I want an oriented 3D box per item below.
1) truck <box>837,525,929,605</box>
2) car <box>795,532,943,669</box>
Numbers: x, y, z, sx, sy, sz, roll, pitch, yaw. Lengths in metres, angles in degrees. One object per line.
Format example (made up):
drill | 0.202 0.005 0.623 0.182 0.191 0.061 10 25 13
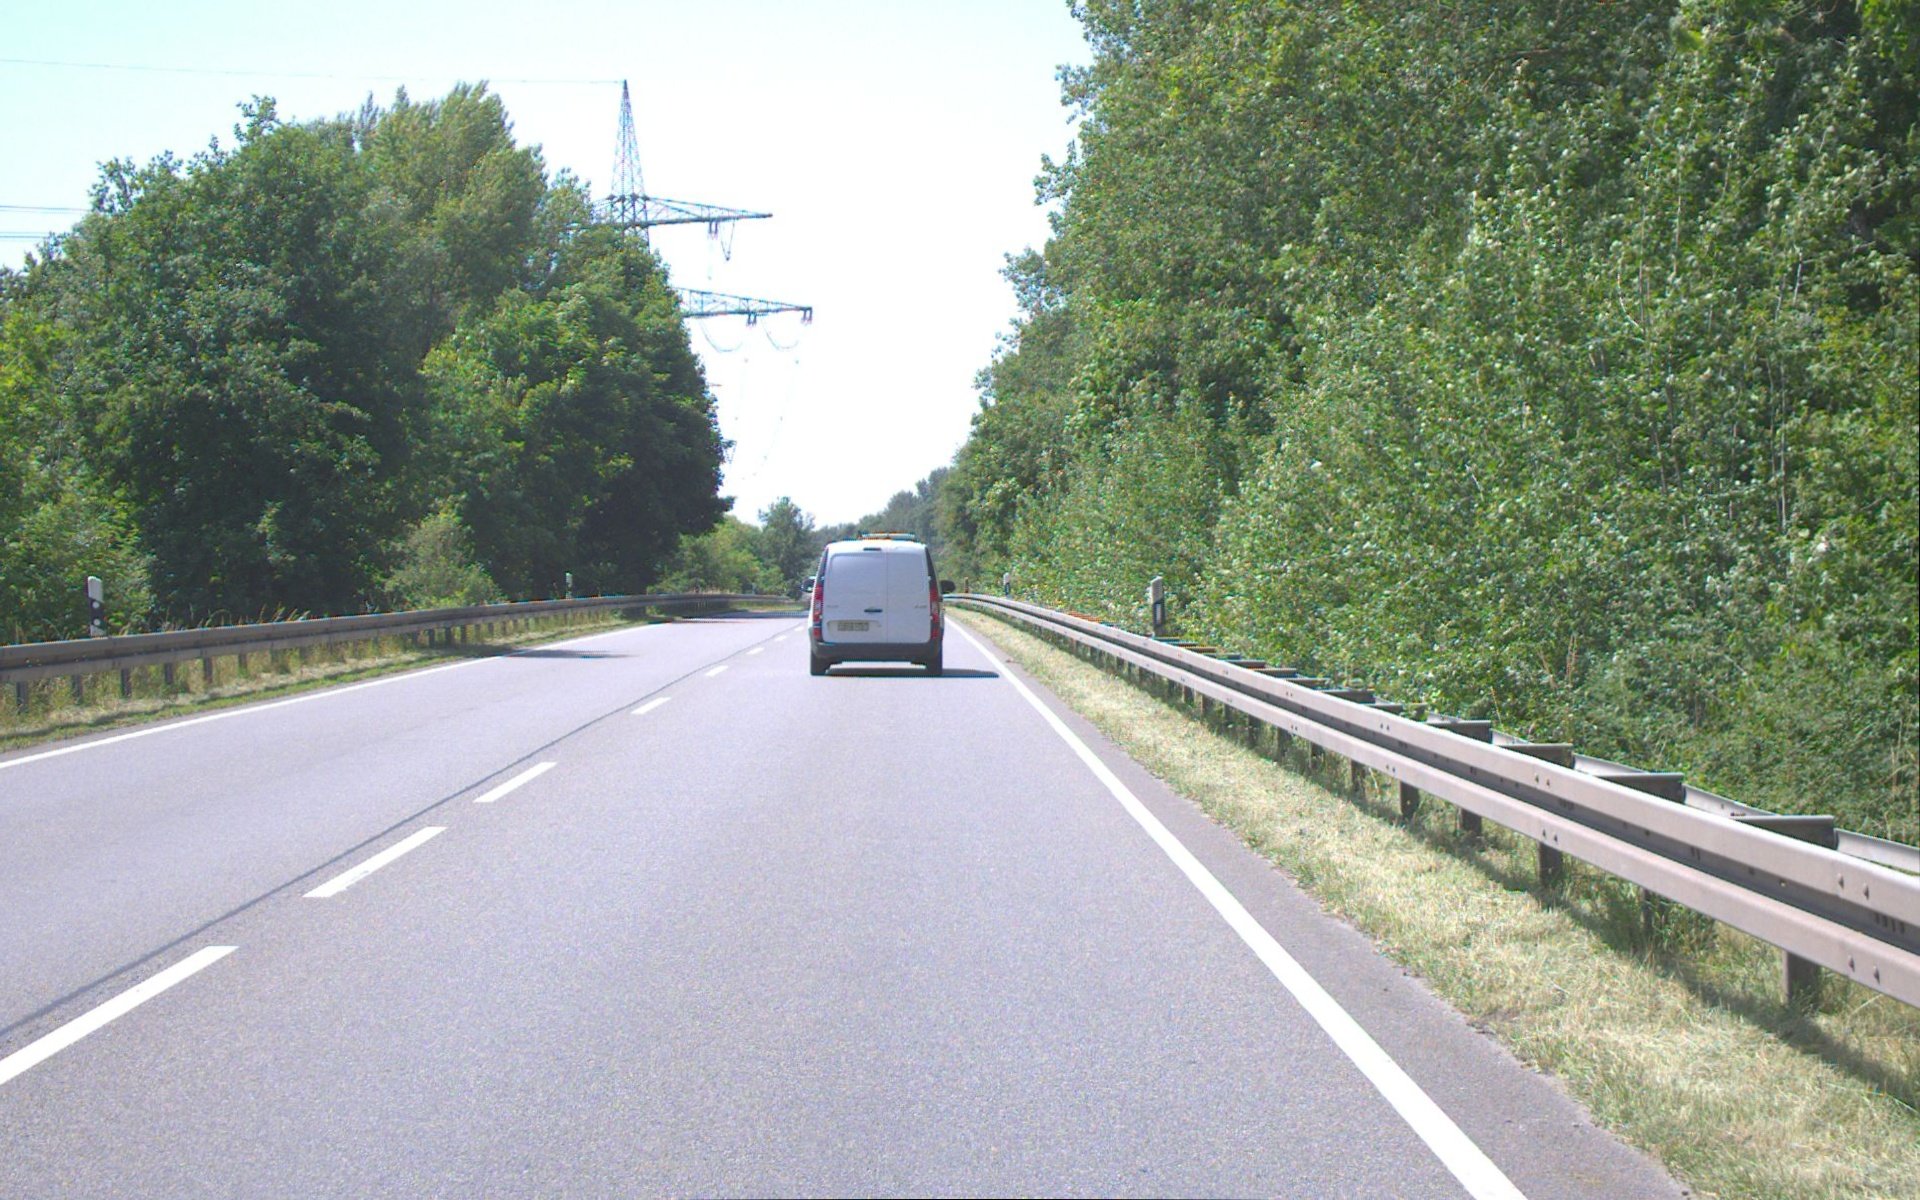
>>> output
truck | -3.154 -1.514 145.105 3.296 3.161 14.404 1 1 1
car | -1.214 -0.023 46.130 1.875 1.735 4.000 1 1 -1
